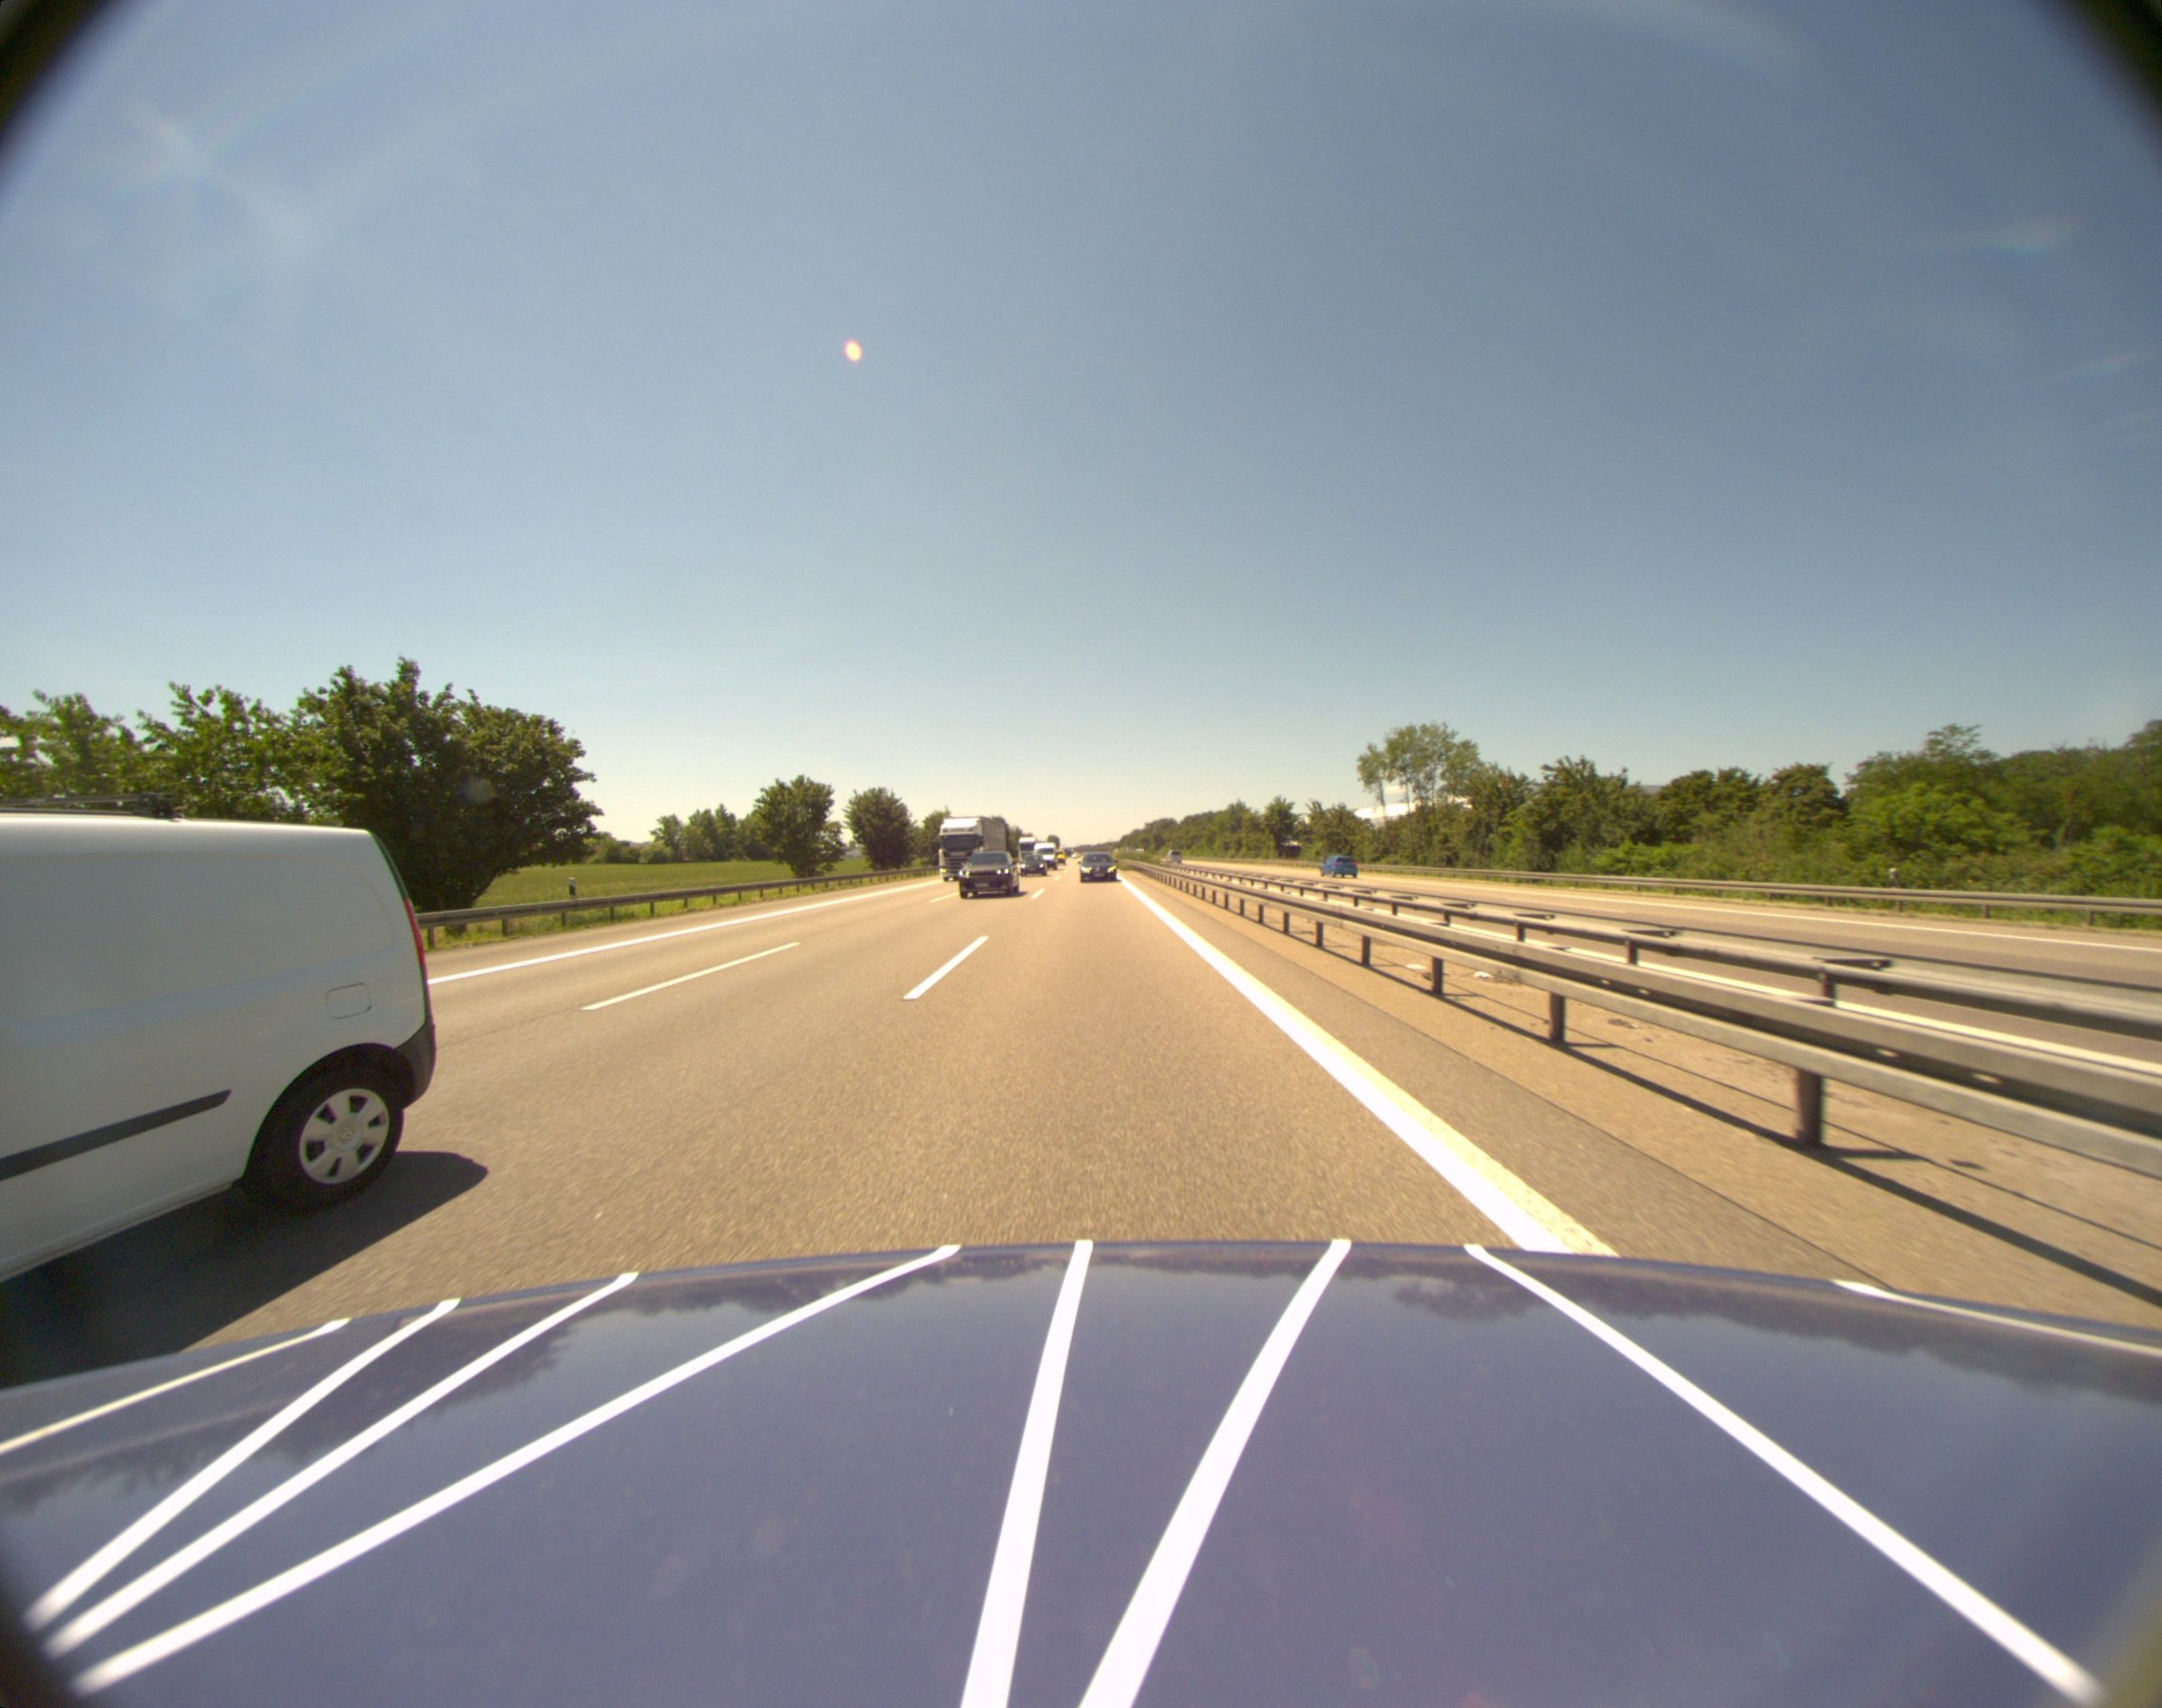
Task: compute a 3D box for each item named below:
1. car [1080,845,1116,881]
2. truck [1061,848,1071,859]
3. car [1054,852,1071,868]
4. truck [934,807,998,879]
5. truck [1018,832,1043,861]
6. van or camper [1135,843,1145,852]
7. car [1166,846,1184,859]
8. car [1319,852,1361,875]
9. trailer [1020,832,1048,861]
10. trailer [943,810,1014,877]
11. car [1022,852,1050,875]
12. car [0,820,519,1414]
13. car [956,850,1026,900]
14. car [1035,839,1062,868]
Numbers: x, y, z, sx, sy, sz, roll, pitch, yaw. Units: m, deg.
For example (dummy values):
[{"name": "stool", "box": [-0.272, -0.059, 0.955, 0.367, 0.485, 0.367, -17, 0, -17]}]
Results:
[{"name": "car", "box": [0.861, 0.429, 38.407, 1.690, 1.646, 3.462, -2, 1, 2]}, {"name": "truck", "box": [-5.078, -0.241, 253.631, 2.976, 3.626, 7.148, -2, 1, -2]}, {"name": "car", "box": [-2.308, 0.728, 95.924, 1.958, 1.939, 3.999, -2, 1, 0]}, {"name": "truck", "box": [-7.445, -0.690, 50.257, 2.817, 4.279, 7.193, -2, 1, 1]}, {"name": "truck", "box": [-7.072, -1.064, 108.139, 2.699, 3.943, 7.703, -2, 0, 1]}, {"name": "van or camper", "box": [18.999, -2.151, 245.224, 2.857, 2.952, 7.446, 1, 1, 1]}, {"name": "car", "box": [14.137, -0.260, 114.441, 2.046, 1.913, 5.226, 1, 0, 0]}, {"name": "car", "box": [17.195, 0.616, 50.633, 1.568, 1.416, 3.471, 1, 1, 0]}, {"name": "trailer", "box": [-6.914, -1.083, 114.097, 2.699, 3.943, 13.961, -2, 0, 2]}, {"name": "trailer", "box": [-7.288, -0.741, 56.554, 2.817, 4.279, 14.254, -2, 0, 1]}, {"name": "car", "box": [-3.055, 0.621, 51.754, 1.692, 1.465, 3.432, -2, 0, -1]}, {"name": "car", "box": [-4.332, 0.858, 2.211, 1.858, 1.852, 4.701, -2, 0, -1]}, {"name": "car", "box": [-3.324, 0.712, 28.888, 1.871, 1.665, 4.746, -2, 0, 2]}, {"name": "car", "box": [-2.964, -0.072, 70.129, 2.159, 2.494, 5.945, -2, 0, 0]}]
